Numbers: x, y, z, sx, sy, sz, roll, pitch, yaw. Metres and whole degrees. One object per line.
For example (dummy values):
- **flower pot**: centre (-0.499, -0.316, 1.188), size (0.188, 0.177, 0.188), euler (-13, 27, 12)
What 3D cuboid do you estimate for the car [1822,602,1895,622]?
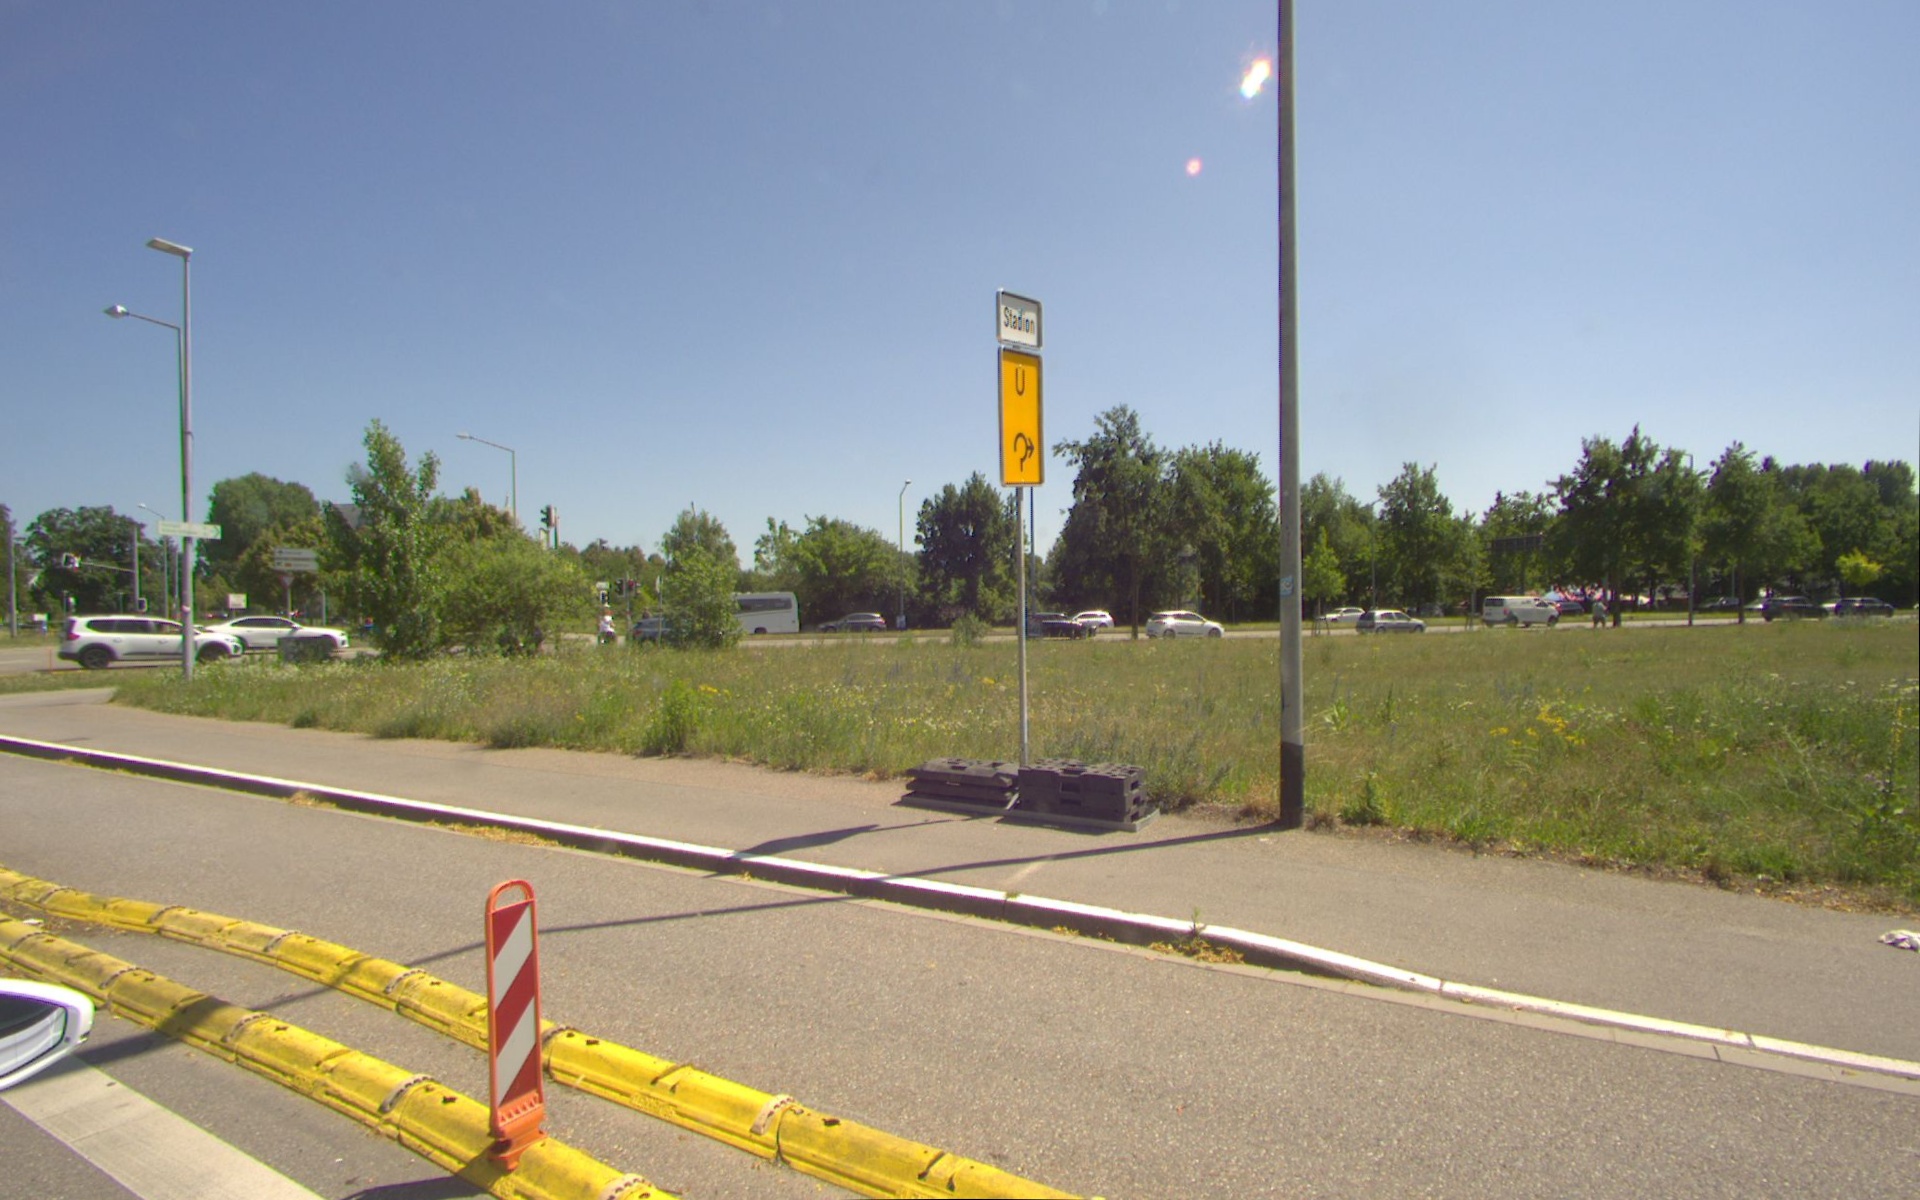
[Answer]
- **car**: centre (64.160, 0.882, 71.507), size (4.131, 1.409, 1.899), euler (0, -1, -15)

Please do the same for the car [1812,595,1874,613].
- **car**: centre (80.713, 0.419, 91.531), size (4.696, 1.590, 1.998), euler (0, -1, -15)

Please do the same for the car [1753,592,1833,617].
- **car**: centre (55.063, 0.313, 66.201), size (4.369, 1.616, 1.997), euler (0, -1, -17)

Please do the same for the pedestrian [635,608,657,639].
- **pedestrian**: centre (-16.658, 1.247, 53.195), size (0.811, 1.583, 0.790), euler (-1, -1, 34)

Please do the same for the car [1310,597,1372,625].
- **car**: centre (28.839, 0.861, 75.814), size (3.928, 2.040, 1.997), euler (0, -1, -15)

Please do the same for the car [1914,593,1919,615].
- **car**: centre (88.647, 0.375, 90.162), size (4.491, 2.002, 1.997), euler (0, -1, -15)

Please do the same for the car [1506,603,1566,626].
- **car**: centre (44.807, 1.135, 77.874), size (3.690, 1.739, 1.998), euler (0, -1, -13)

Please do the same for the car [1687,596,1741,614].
- **car**: centre (65.339, 0.439, 86.825), size (3.928, 1.572, 1.738), euler (0, -1, -16)

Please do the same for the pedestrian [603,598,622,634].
- **pedestrian**: centre (-18.385, 0.830, 53.006), size (0.726, 1.894, 0.648), euler (-1, -1, 34)

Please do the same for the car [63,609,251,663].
- **car**: centre (-25.484, 1.110, 31.881), size (4.545, 1.586, 1.981), euler (1, -2, -44)

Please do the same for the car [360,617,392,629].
- **car**: centre (-87.472, 3.504, 149.963), size (1.963, 1.736, 3.997), euler (0, -1, 14)

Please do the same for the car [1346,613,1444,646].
- **car**: centre (23.620, 1.576, 54.324), size (4.855, 1.727, 1.995), euler (0, -1, -20)

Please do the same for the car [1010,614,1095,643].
- **car**: centre (4.752, 1.445, 51.638), size (3.931, 1.425, 1.996), euler (0, -1, -19)

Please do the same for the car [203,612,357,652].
- **car**: centre (-27.575, 1.294, 40.718), size (4.958, 1.529, 1.981), euler (1, -2, -44)

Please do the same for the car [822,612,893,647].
- **car**: centre (-6.102, 1.742, 59.702), size (3.929, 2.040, 1.997), euler (0, -1, -16)

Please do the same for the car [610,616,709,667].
- **car**: centre (-12.676, 1.726, 42.244), size (3.931, 2.040, 1.996), euler (0, -1, -19)

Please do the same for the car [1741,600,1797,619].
- **car**: centre (67.604, 0.793, 83.689), size (3.928, 1.572, 1.738), euler (0, -1, -16)

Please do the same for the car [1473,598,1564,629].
- **car**: centre (34.410, 0.833, 61.737), size (4.897, 1.874, 1.997), euler (0, -1, -16)

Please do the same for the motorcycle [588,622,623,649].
- **motorcycle**: centre (-13.145, 1.315, 37.182), size (0.619, 0.982, 1.709), euler (0, -1, 3)

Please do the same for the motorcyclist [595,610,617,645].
- **motorcyclist**: centre (-13.170, 1.024, 37.227), size (0.570, 1.306, 0.615), euler (0, -1, 3)

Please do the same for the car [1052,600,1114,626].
- **car**: centre (8.613, 0.929, 70.283), size (3.926, 1.750, 1.737), euler (0, -1, -12)

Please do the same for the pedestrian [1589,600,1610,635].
- **pedestrian**: centre (29.716, 0.817, 46.541), size (0.724, 1.583, 0.497), euler (0, 0, -18)

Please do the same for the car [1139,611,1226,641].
- **car**: centre (11.131, 1.284, 50.163), size (3.946, 1.463, 1.632), euler (0, -1, -11)

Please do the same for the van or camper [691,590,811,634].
- **van or camper**: centre (-13.354, 0.782, 64.159), size (7.374, 2.728, 2.511), euler (0, -1, -13)

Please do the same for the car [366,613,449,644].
- **car**: centre (-33.428, 1.719, 60.671), size (3.922, 1.861, 2.001), euler (0, -1, 1)
